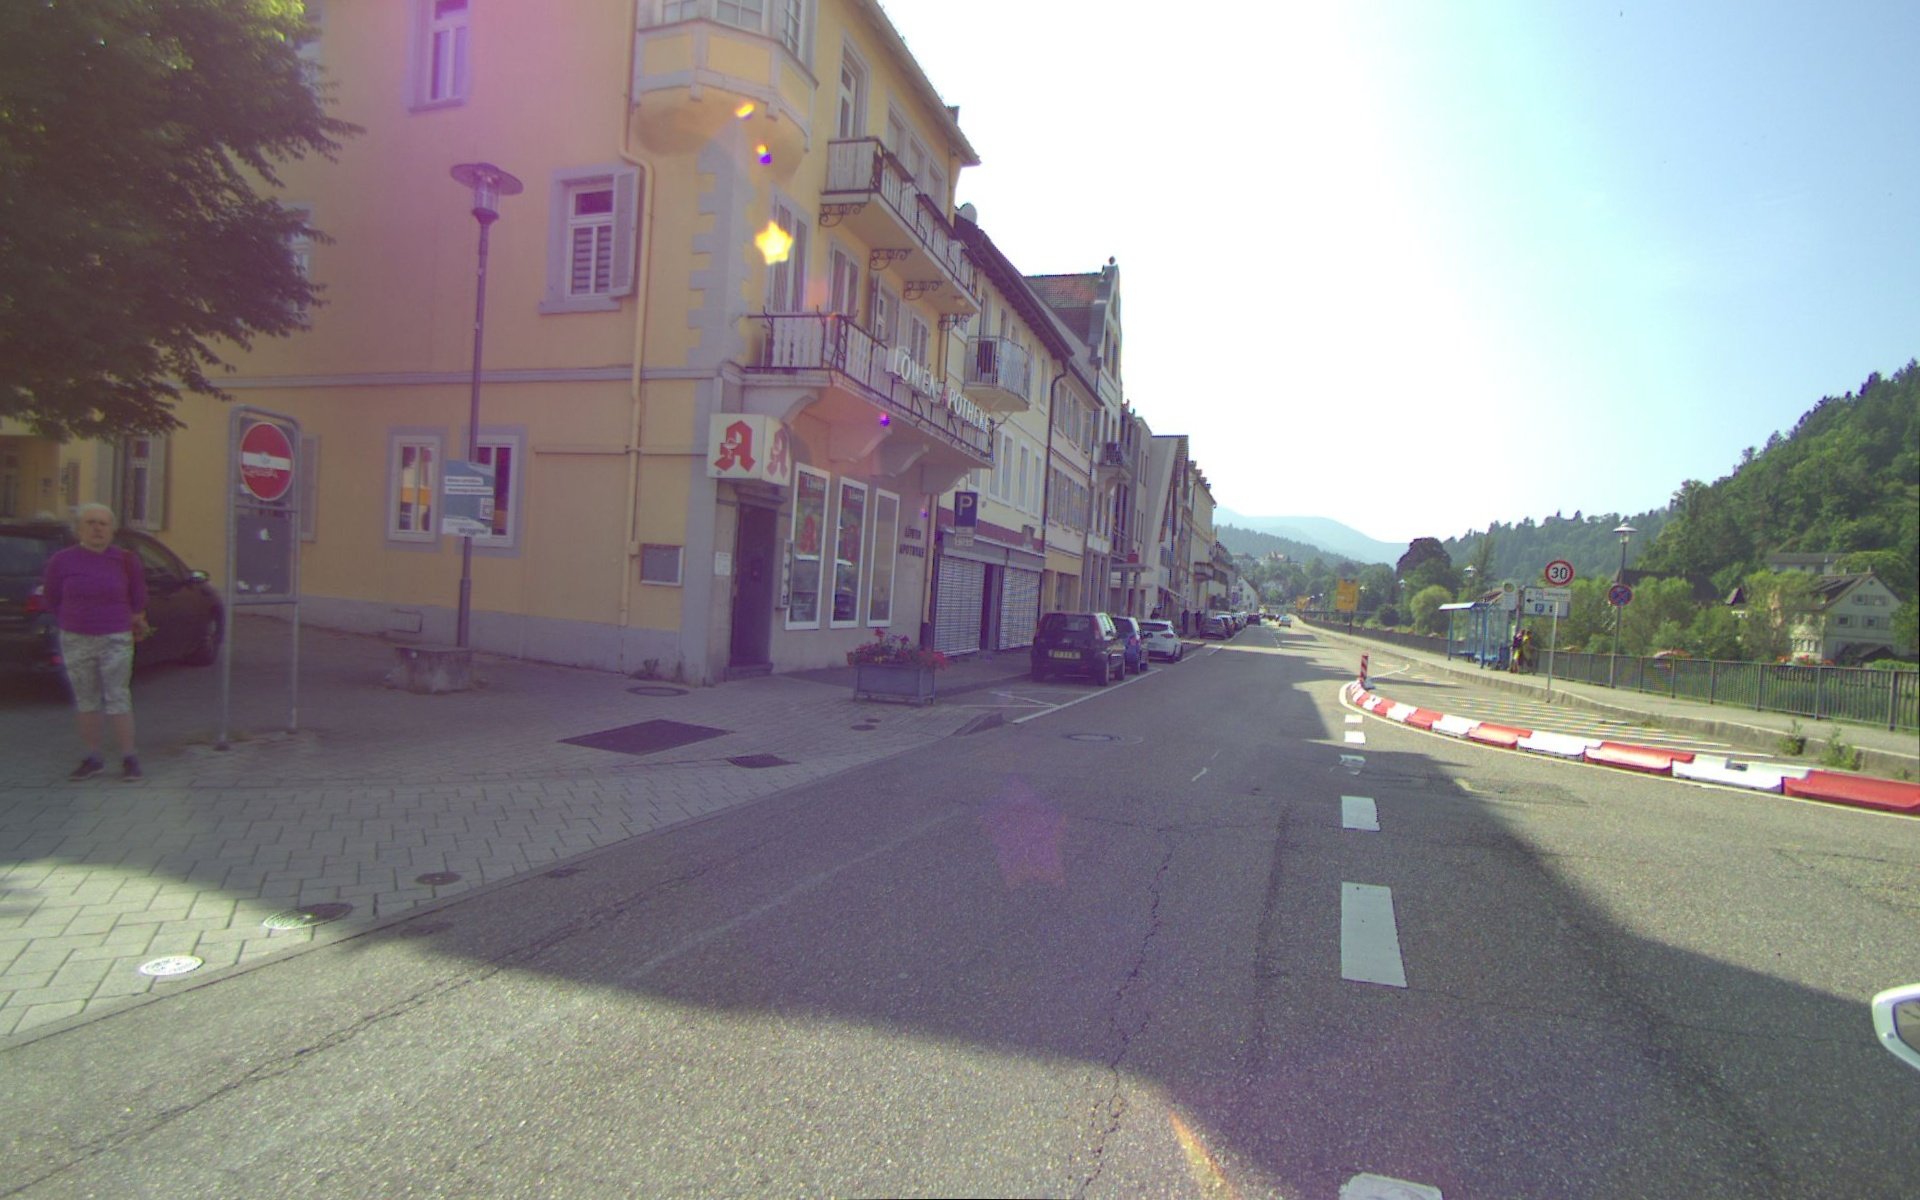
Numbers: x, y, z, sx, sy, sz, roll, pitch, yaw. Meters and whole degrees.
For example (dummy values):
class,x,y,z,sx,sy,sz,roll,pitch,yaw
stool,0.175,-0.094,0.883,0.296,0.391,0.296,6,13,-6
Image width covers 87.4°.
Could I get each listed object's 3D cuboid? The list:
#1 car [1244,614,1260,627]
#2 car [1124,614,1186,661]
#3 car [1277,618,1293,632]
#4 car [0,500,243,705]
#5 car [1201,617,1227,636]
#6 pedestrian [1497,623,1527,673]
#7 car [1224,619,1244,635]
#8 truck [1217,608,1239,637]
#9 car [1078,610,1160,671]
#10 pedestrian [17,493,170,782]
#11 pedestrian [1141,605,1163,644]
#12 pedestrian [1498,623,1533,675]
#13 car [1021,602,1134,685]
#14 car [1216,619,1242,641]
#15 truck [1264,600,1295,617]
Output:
class,x,y,z,sx,sy,sz,roll,pitch,yaw
car,41.424,2.905,142.626,1.960,1.684,4.001,5,1,18
car,6.903,1.263,35.343,1.718,1.467,3.796,3,0,17
car,45.171,3.457,139.501,1.960,1.684,4.001,5,1,18
car,-8.624,-0.112,9.553,1.895,1.563,3.939,4,2,-20
car,17.539,1.805,69.401,1.537,1.236,3.277,3,0,17
pedestrian,19.872,1.733,36.185,0.776,1.728,0.491,4,1,20
car,26.395,2.573,96.847,1.718,1.467,3.277,3,0,17
truck,24.338,2.004,91.133,1.718,2.501,4.663,3,0,17
car,4.391,1.056,27.389,1.718,1.467,3.277,3,0,17
pedestrian,-5.572,0.220,6.475,0.675,1.737,0.610,2,2,-42
pedestrian,8.726,1.110,45.619,0.655,1.719,0.682,3,1,-45
pedestrian,19.661,1.724,35.564,0.852,1.728,0.777,4,1,20
car,2.674,0.900,22.159,1.816,1.589,3.569,3,0,17
car,20.144,2.245,75.133,1.718,1.467,3.277,3,0,17
truck,69.982,1.935,219.905,3.035,3.307,9.160,4,1,41
